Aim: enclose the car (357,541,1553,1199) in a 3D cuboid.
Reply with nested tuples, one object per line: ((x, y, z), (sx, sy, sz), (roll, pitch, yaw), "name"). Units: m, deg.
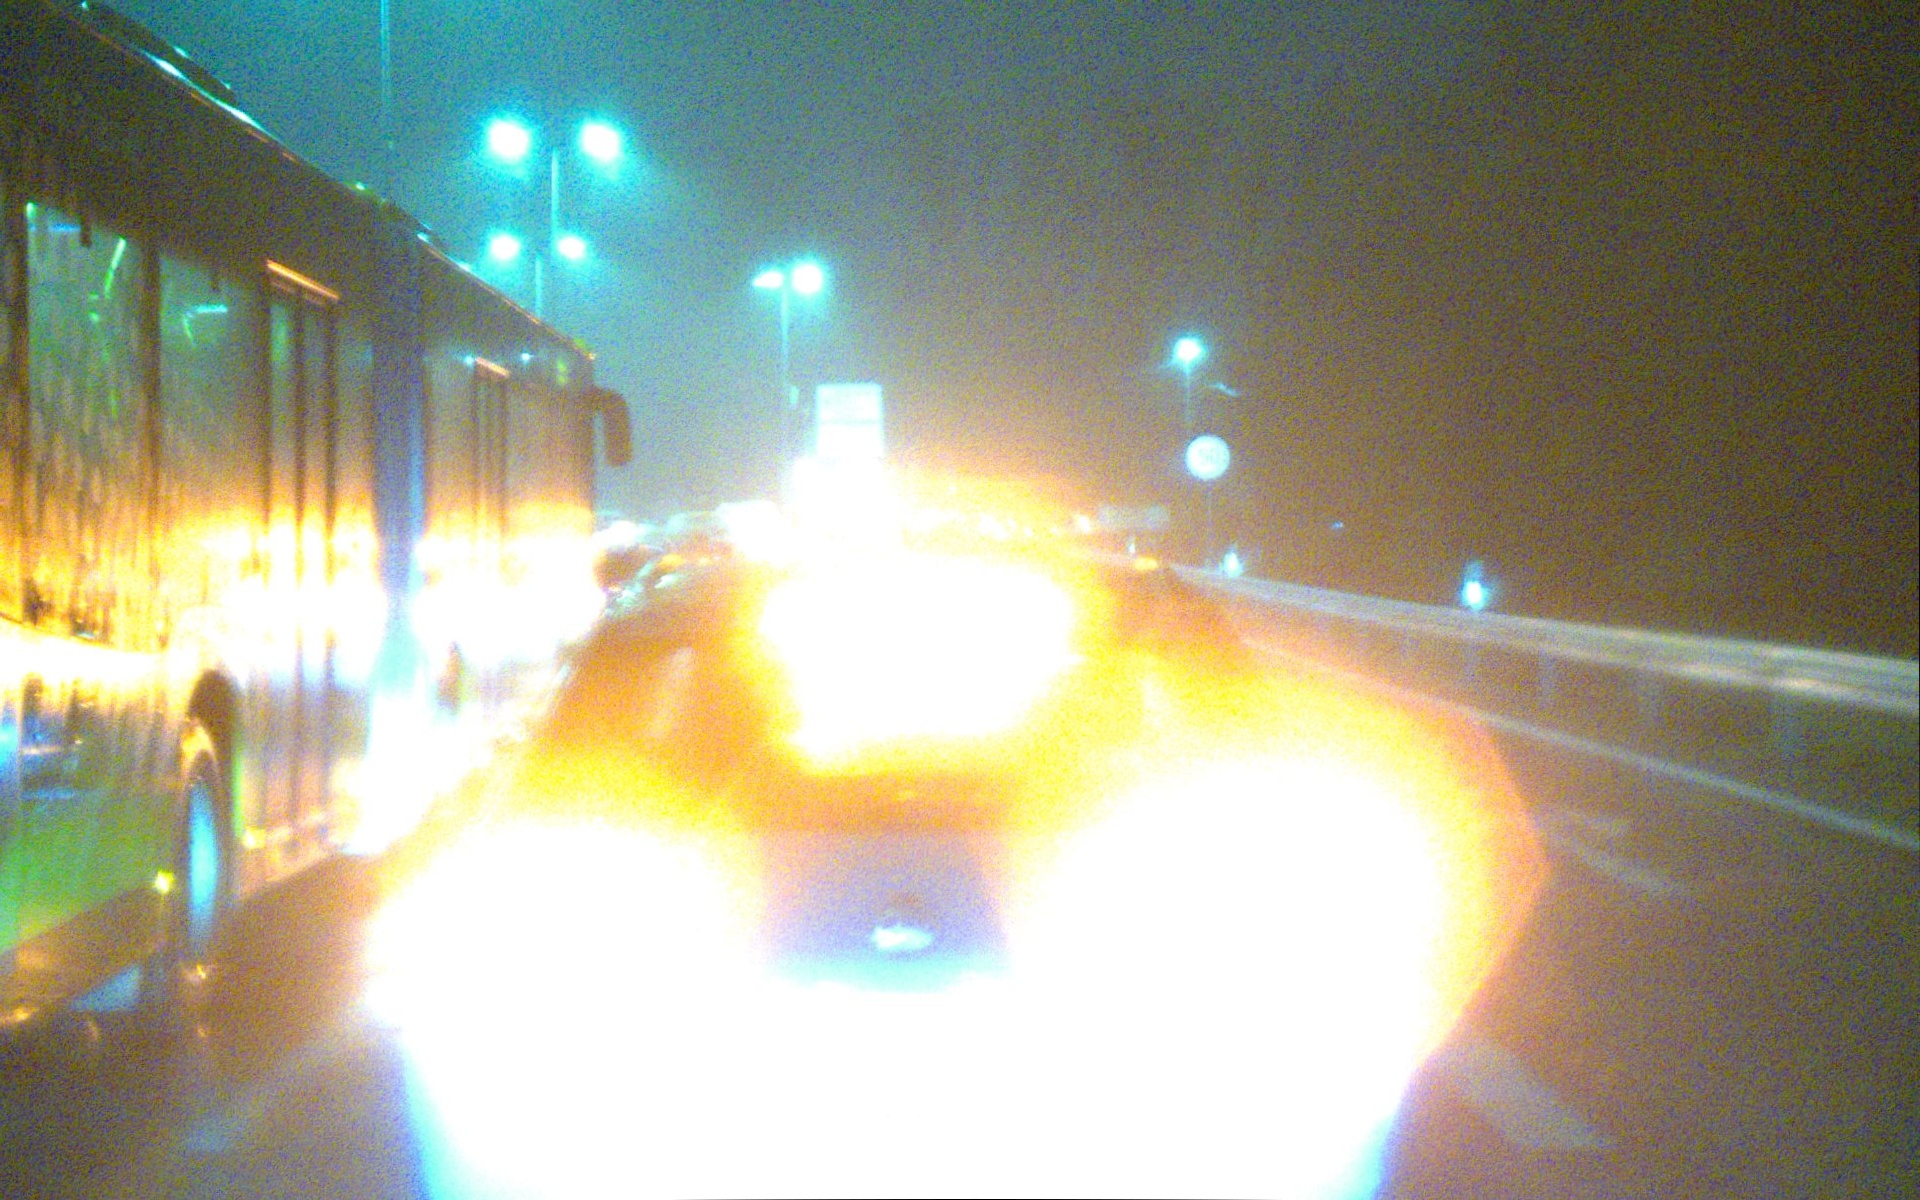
((-0.209, 0.621, 7.500), (1.821, 1.479, 4.569), (0, 1, -5), "car")

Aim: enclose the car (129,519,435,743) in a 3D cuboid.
((-4.972, 0.177, 25.661), (1.779, 1.538, 3.875), (0, 1, -4), "car")

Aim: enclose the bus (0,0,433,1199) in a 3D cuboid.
((-3.598, -0.297, 11.081), (2.815, 3.013, 8.688), (0, 1, -2), "bus")

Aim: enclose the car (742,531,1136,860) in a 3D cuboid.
((-0.199, 0.377, 17.555), (1.731, 1.444, 4.725), (0, 1, -3), "car")

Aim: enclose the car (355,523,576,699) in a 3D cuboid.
((-4.561, 0.061, 32.171), (1.779, 1.538, 3.875), (0, 1, -4), "car")

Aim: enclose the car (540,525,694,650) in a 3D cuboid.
((-4.397, -0.191, 44.465), (1.779, 1.538, 3.875), (0, 1, -3), "car")

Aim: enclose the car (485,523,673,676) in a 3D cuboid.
((-4.016, -0.040, 36.737), (1.779, 1.538, 3.875), (0, 1, -3), "car")

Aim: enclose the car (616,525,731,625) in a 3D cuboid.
((-4.602, -0.429, 55.504), (1.779, 1.538, 3.875), (0, 1, -4), "car")

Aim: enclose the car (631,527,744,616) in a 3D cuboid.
((-4.869, -0.530, 61.849), (1.779, 1.538, 3.875), (0, 1, -1), "car")

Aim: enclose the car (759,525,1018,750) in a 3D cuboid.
((-0.607, 0.223, 25.838), (1.739, 1.559, 3.777), (0, 1, -4), "car")

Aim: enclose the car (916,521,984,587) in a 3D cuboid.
((-0.306, -1.361, 101.676), (1.952, 1.875, 4.000), (1, 1, -1), "car")
